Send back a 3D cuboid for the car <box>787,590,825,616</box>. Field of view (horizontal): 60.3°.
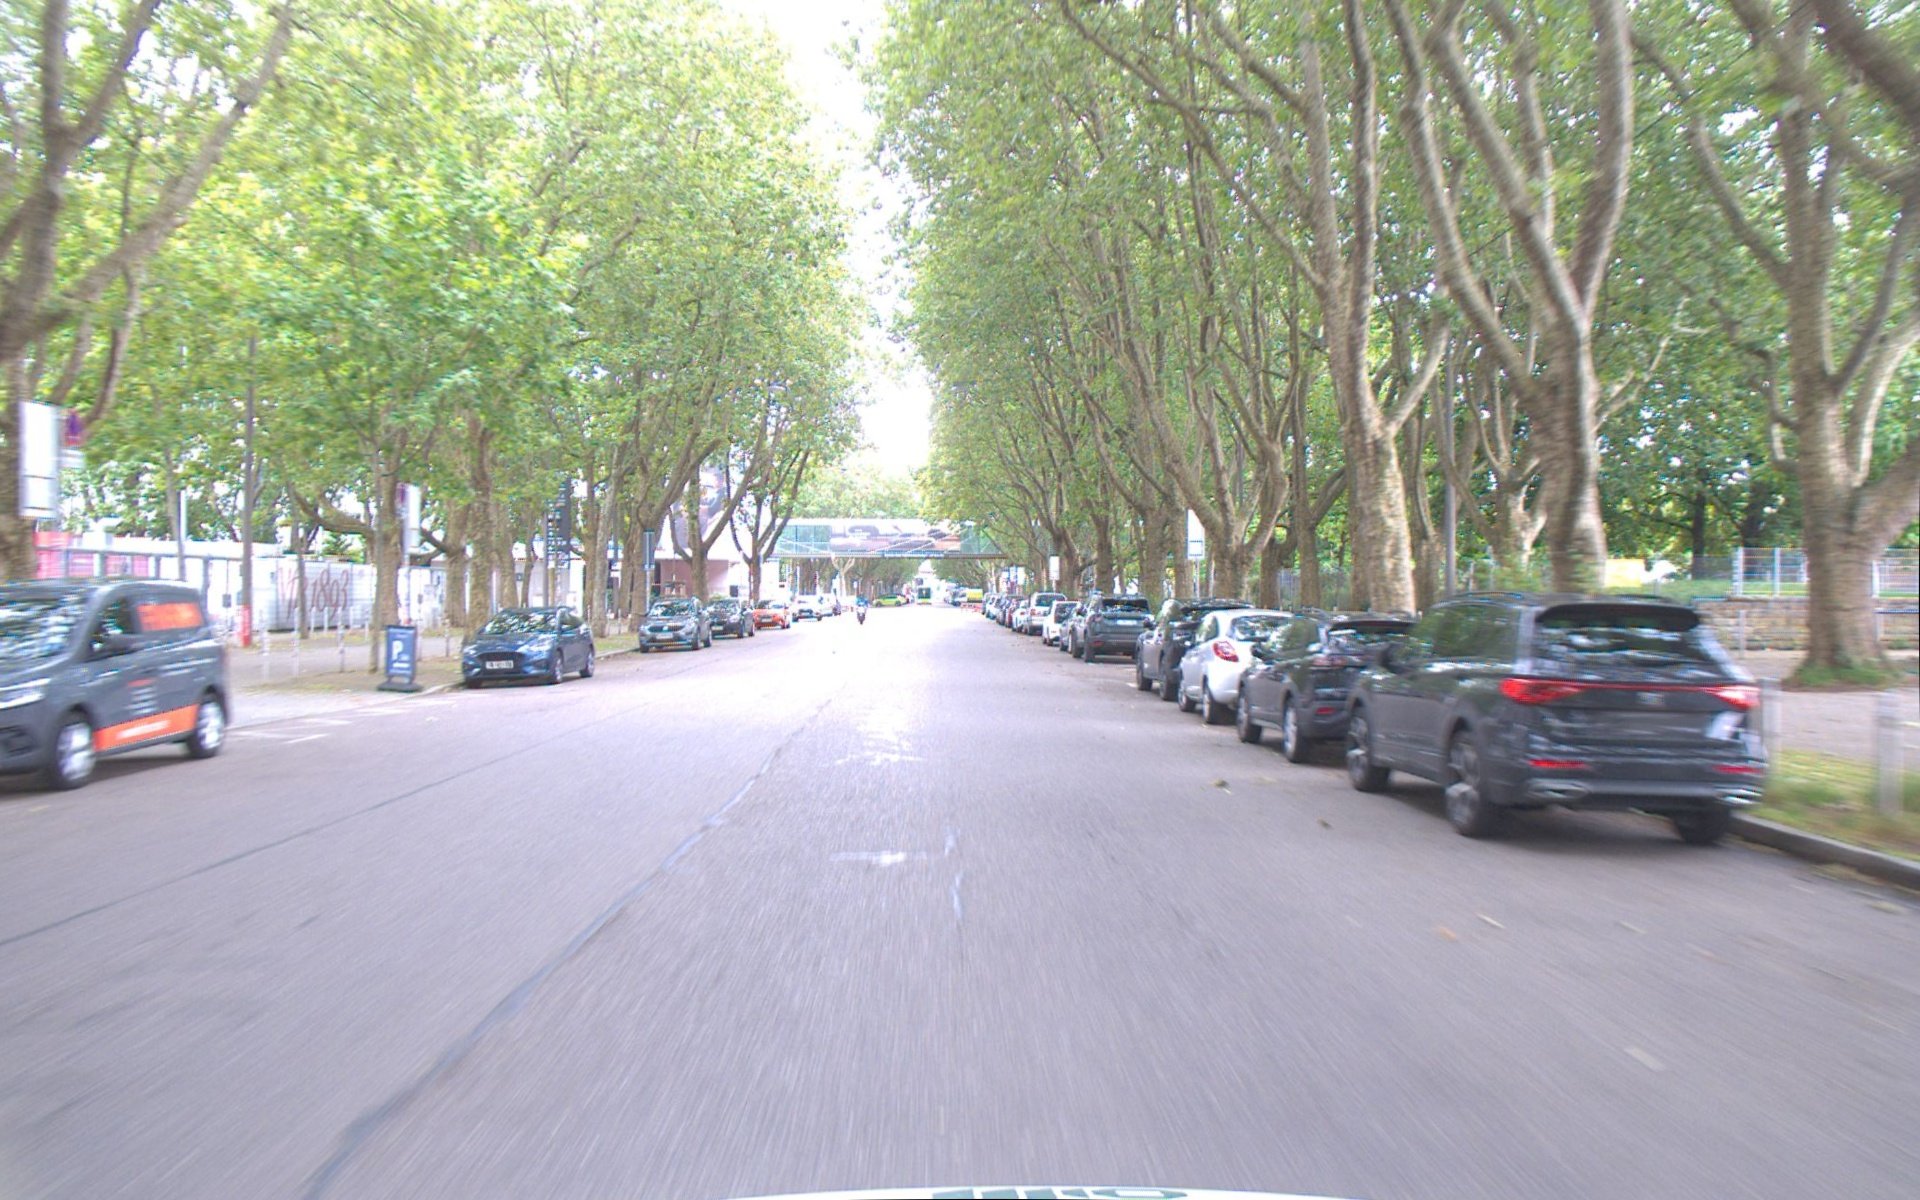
[{"bbox_3d":[-9.665,0.166,104.134,2.031,1.590,4.755,0,0,-1],"label":"car"}]

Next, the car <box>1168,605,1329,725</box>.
[{"bbox_3d":[3.989,0.854,23.365,1.583,1.466,3.710,2,0,0],"label":"car"}]

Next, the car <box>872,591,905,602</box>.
[{"bbox_3d":[-10.207,-0.506,237.542,4.604,1.612,1.864,0,0,0],"label":"car"}]

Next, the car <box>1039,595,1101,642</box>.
[{"bbox_3d":[3.586,0.574,54.458,1.673,1.452,3.888,2,0,-1],"label":"car"}]

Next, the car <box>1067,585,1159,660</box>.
[{"bbox_3d":[3.792,0.528,41.738,1.673,1.728,4.629,2,0,-2],"label":"car"}]

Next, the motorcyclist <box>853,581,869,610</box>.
[{"bbox_3d":[-5.249,-0.254,87.522,0.853,1.506,1.264,0,0,-4],"label":"motorcyclist"}]

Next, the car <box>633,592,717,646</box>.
[{"bbox_3d":[-8.605,0.549,50.269,1.840,1.553,4.150,-1,0,-1],"label":"car"}]

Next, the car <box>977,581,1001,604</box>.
[{"bbox_3d":[2.374,-0.641,137.737,1.810,1.814,5.210,1,0,-1],"label":"car"}]

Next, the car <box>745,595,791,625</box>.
[{"bbox_3d":[-9.187,0.446,79.495,1.771,1.378,4.000,0,0,-1],"label":"car"}]

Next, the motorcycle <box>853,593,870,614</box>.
[{"bbox_3d":[-5.241,0.174,87.517,0.856,1.098,3.050,0,0,-4],"label":"motorcycle"}]

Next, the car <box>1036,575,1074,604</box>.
[{"bbox_3d":[5.356,-0.615,93.643,1.766,1.583,3.999,0,1,-2],"label":"car"}]

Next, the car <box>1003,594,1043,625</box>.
[{"bbox_3d":[3.196,0.469,85.090,1.819,1.507,4.176,0,0,-1],"label":"car"}]

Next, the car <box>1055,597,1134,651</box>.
[{"bbox_3d":[3.809,0.647,47.510,1.673,1.440,4.358,1,0,-3],"label":"car"}]

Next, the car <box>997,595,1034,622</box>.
[{"bbox_3d":[3.049,0.465,91.761,1.838,1.452,4.479,0,0,0],"label":"car"}]

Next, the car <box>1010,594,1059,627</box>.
[{"bbox_3d":[3.306,0.443,73.915,1.839,1.452,4.584,0,0,-2],"label":"car"}]

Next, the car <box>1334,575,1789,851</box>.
[{"bbox_3d":[4.216,0.685,12.425,1.720,1.648,4.438,2,0,-1],"label":"car"}]

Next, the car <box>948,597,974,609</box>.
[{"bbox_3d":[0.118,0.480,255.298,3.906,1.825,1.542,0,0,-2],"label":"car"}]

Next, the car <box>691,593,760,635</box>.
[{"bbox_3d":[-8.738,0.503,61.864,1.789,1.491,4.628,-1,0,1],"label":"car"}]

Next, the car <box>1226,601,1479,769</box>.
[{"bbox_3d":[4.105,0.815,18.007,1.634,1.535,4.353,2,0,-1],"label":"car"}]

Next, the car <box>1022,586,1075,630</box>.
[{"bbox_3d":[3.625,0.315,68.189,1.864,1.769,4.505,0,0,-1],"label":"car"}]

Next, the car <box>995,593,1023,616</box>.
[{"bbox_3d":[3.337,0.298,113.205,1.771,1.553,4.095,0,0,-1],"label":"car"}]

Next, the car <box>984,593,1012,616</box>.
[{"bbox_3d":[2.731,0.348,120.881,1.875,1.646,4.748,0,0,-1],"label":"car"}]

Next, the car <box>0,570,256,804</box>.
[{"bbox_3d":[-8.266,0.677,14.905,1.909,1.781,4.637,-1,0,-1],"label":"car"}]

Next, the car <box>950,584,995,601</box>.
[{"bbox_3d":[1.887,-1.083,247.704,6.687,2.557,2.315,0,0,-3],"label":"car"}]

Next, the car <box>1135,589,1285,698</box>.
[{"bbox_3d":[4.175,0.673,28.340,1.741,1.702,4.636,0,0,-2],"label":"car"}]

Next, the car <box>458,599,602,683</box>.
[{"bbox_3d":[-8.363,0.746,32.549,1.689,1.512,4.574,0,0,-1],"label":"car"}]
